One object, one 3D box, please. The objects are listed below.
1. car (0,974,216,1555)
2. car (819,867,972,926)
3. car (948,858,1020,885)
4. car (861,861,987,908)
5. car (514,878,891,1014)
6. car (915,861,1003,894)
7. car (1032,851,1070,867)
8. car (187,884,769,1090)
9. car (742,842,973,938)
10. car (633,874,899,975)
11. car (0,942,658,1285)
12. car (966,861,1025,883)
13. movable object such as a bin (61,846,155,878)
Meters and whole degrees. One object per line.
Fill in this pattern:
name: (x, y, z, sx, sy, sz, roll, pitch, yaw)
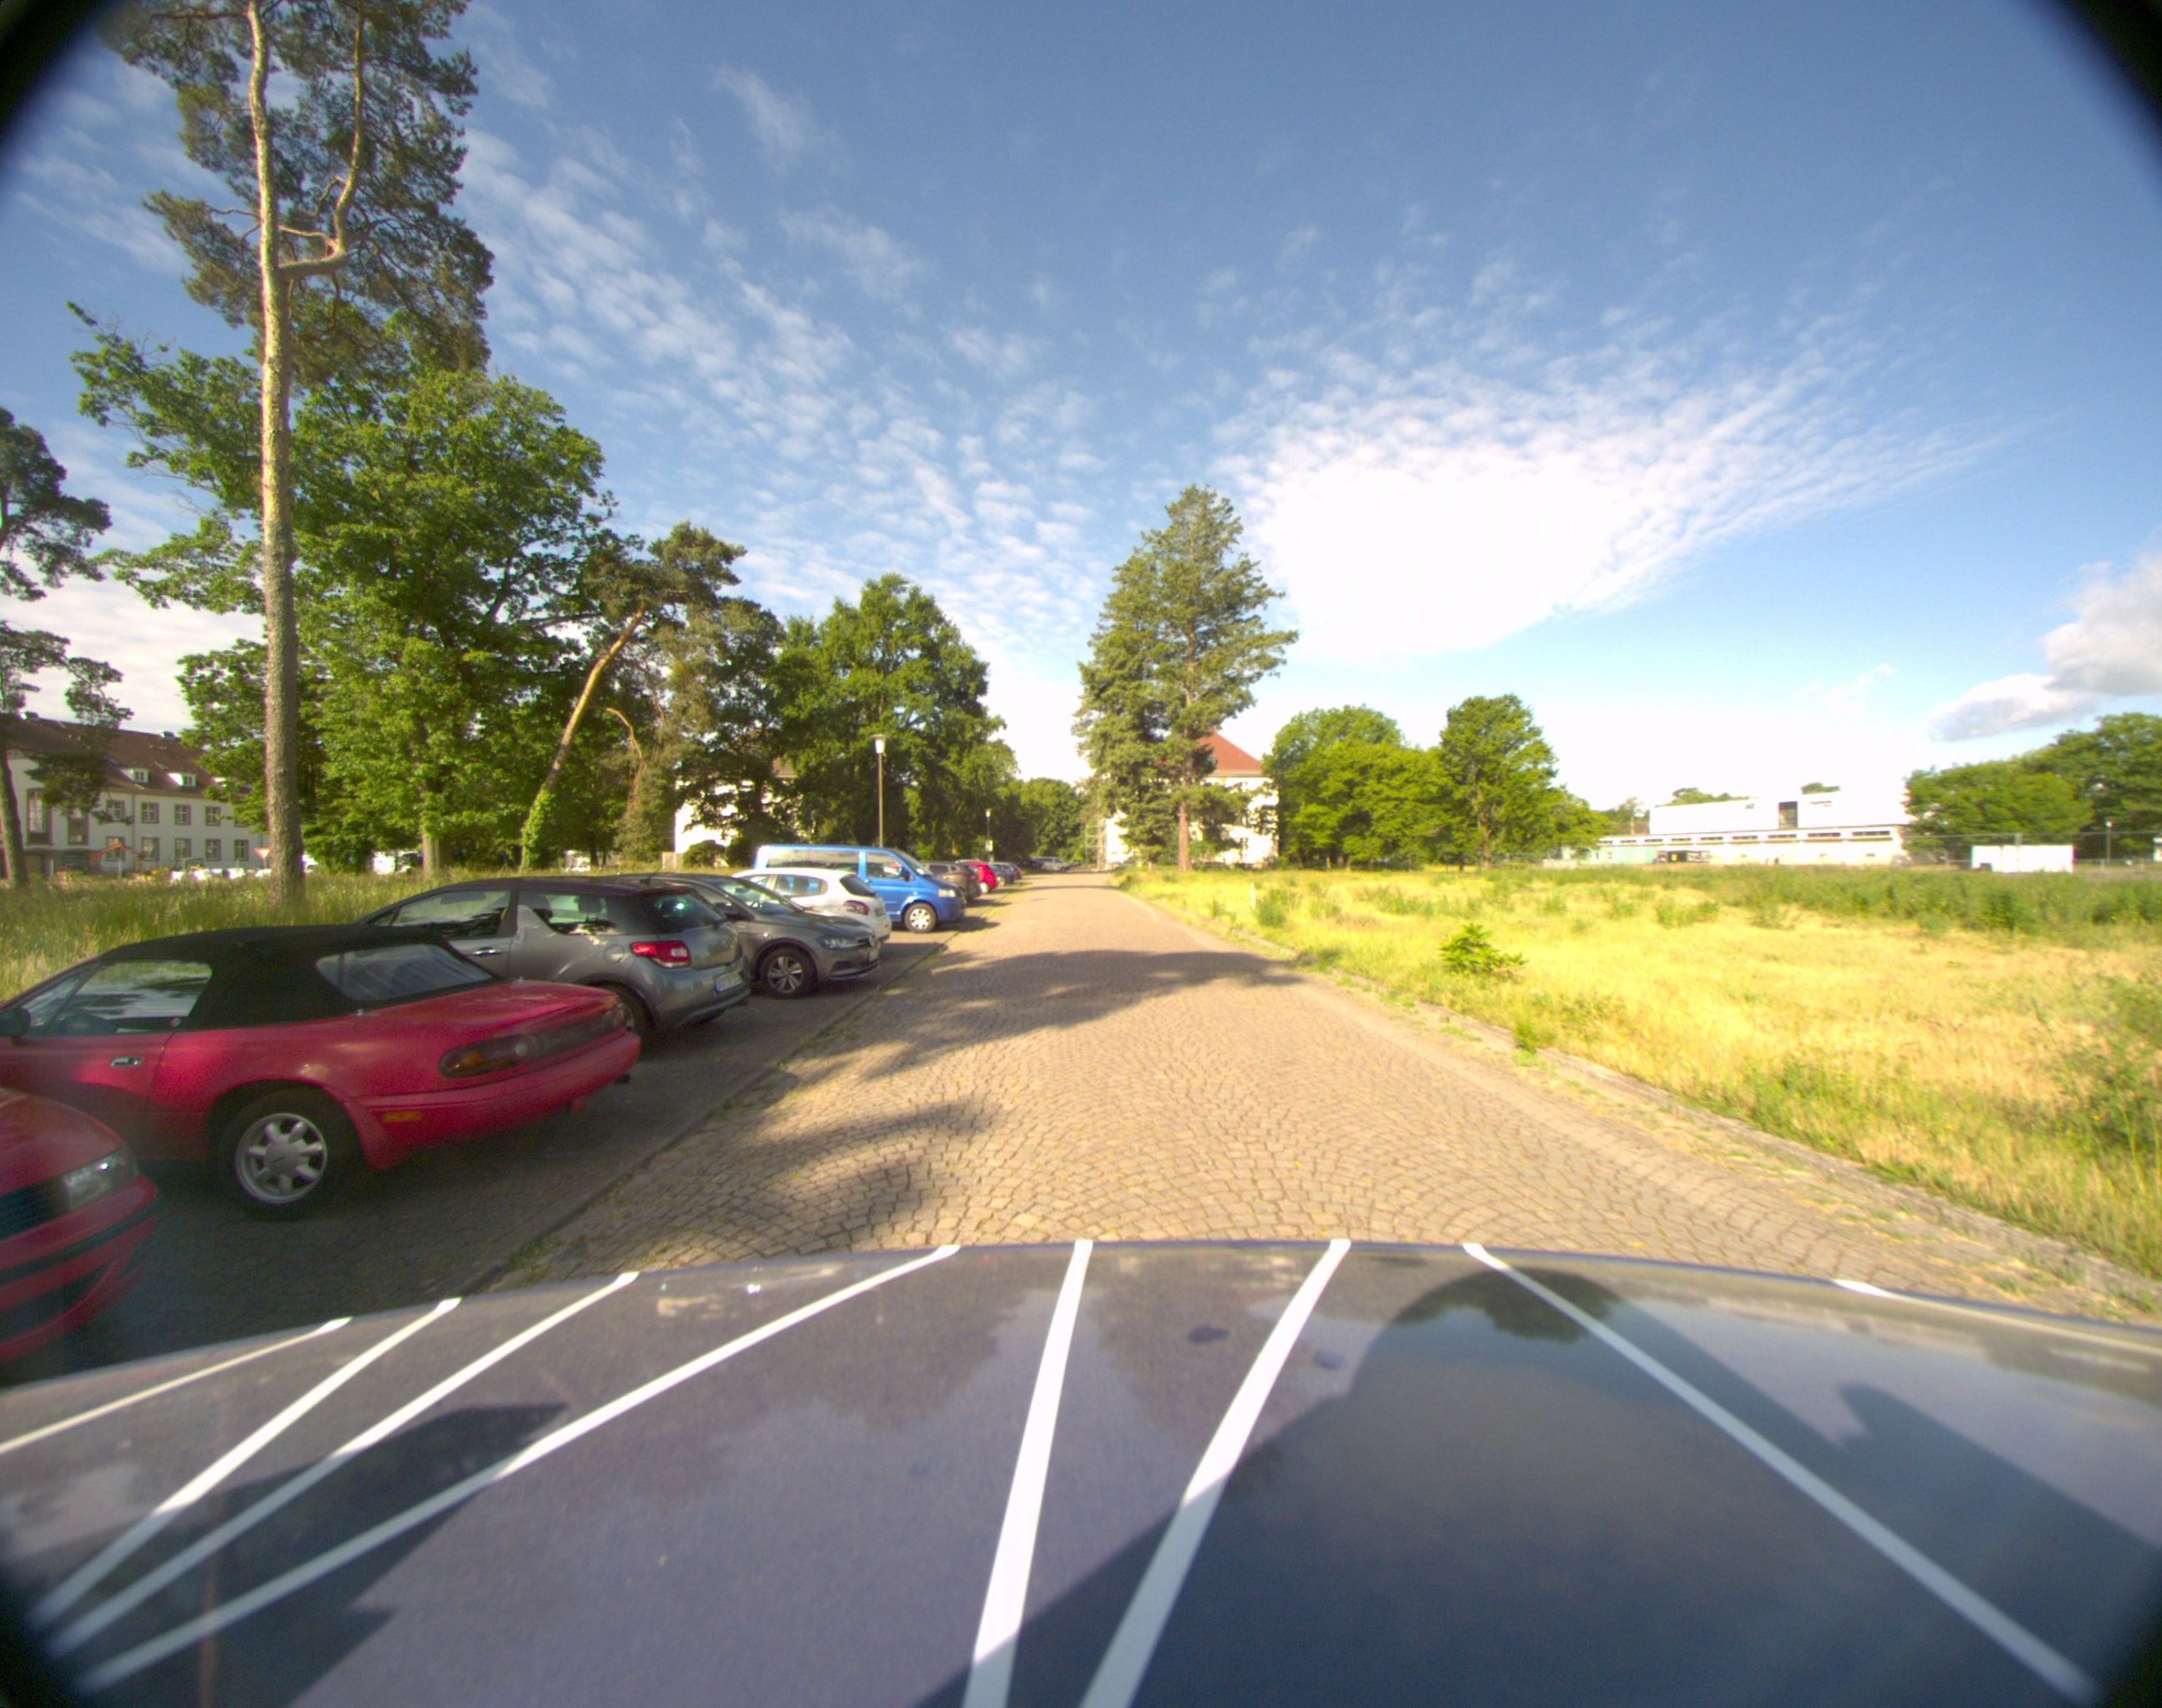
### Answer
car: (-4.801, 1.097, 1.581, 3.990, 1.440, 1.655, 0, 0, -2)
car: (-4.880, 1.120, 20.393, 3.730, 1.458, 1.609, 1, 0, -4)
car: (-5.977, 1.082, 47.136, 4.274, 1.589, 1.651, -1, 0, -2)
car: (-5.412, 1.039, 26.597, 4.118, 1.601, 1.786, 0, 0, -3)
car: (-4.500, 1.072, 9.472, 3.790, 1.442, 1.757, 1, 0, 0)
car: (-5.863, 1.108, 36.848, 3.998, 1.486, 1.540, -1, 0, -2)
car: (-3.995, 0.672, 100.914, 4.995, 2.123, 2.164, 0, 0, -4)
car: (-4.911, 1.053, 6.619, 3.673, 1.446, 1.666, 1, 0, -2)
car: (-5.055, 0.802, 17.758, 4.767, 2.002, 2.000, 2, 0, -2)
car: (-4.984, 1.101, 12.403, 3.654, 1.483, 1.634, 0, 0, -1)
car: (-4.377, 1.184, 3.944, 3.470, 1.235, 1.536, -1, 0, -1)
car: (-5.794, 1.213, 51.872, 3.810, 1.457, 1.747, -1, 0, -1)
movable object such as a bin: (-91.996, 0.715, 71.930, 2.178, 2.884, 5.075, 0, 0, 5)
